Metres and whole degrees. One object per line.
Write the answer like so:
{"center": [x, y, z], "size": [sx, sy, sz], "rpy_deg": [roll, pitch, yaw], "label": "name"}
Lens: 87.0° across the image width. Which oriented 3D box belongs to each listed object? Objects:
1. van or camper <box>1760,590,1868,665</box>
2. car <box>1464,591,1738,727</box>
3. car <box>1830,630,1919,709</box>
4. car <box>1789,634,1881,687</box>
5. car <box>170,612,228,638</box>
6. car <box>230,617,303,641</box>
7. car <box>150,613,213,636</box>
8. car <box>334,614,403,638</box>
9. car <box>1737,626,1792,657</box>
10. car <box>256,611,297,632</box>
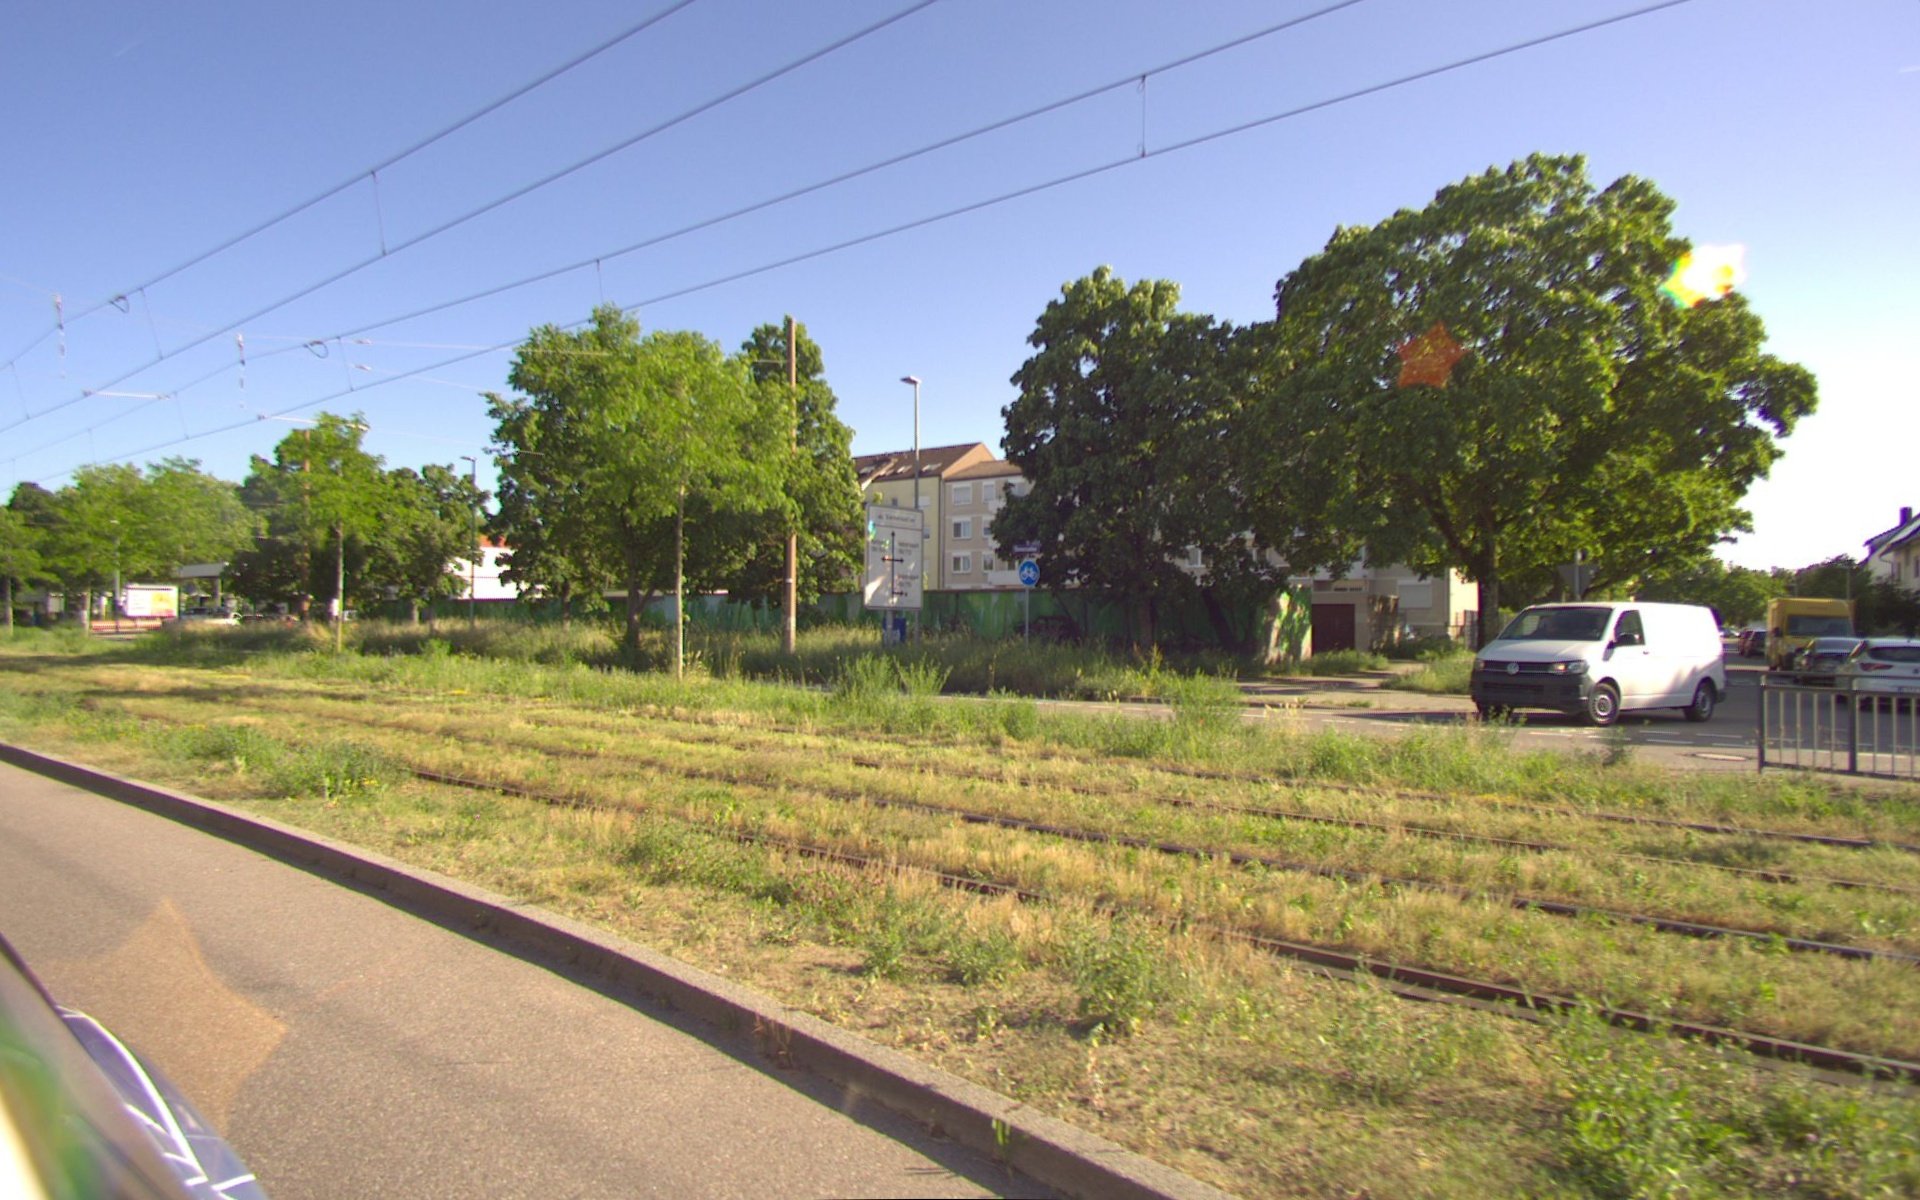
{"center": [29.767, 0.858, 35.506], "size": [2.106, 2.367, 7.172], "rpy_deg": [-1, 0, 34], "label": "van or camper"}
{"center": [10.475, 0.882, 16.461], "size": [4.622, 1.929, 1.909], "rpy_deg": [1, -1, -31], "label": "car"}
{"center": [19.168, 1.374, 20.518], "size": [1.849, 1.414, 3.953], "rpy_deg": [2, 0, 35], "label": "car"}
{"center": [24.612, 1.654, 28.577], "size": [1.556, 1.356, 3.698], "rpy_deg": [0, -1, 35], "label": "car"}
{"center": [-59.000, 1.937, 78.526], "size": [1.866, 1.925, 4.823], "rpy_deg": [0, -1, -14], "label": "car"}
{"center": [-46.537, 1.956, 67.949], "size": [1.636, 1.523, 3.672], "rpy_deg": [-1, -2, 32], "label": "car"}
{"center": [-67.966, 2.111, 88.351], "size": [1.997, 1.871, 3.949], "rpy_deg": [-1, 1, 38], "label": "car"}
{"center": [-41.271, 1.806, 70.678], "size": [1.702, 1.521, 3.783], "rpy_deg": [-1, 0, 36], "label": "car"}
{"center": [43.010, 2.186, 54.187], "size": [1.874, 1.561, 3.955], "rpy_deg": [-1, -1, 33], "label": "car"}
{"center": [-53.366, 1.656, 79.071], "size": [1.992, 1.519, 4.906], "rpy_deg": [1, 0, -26], "label": "car"}
